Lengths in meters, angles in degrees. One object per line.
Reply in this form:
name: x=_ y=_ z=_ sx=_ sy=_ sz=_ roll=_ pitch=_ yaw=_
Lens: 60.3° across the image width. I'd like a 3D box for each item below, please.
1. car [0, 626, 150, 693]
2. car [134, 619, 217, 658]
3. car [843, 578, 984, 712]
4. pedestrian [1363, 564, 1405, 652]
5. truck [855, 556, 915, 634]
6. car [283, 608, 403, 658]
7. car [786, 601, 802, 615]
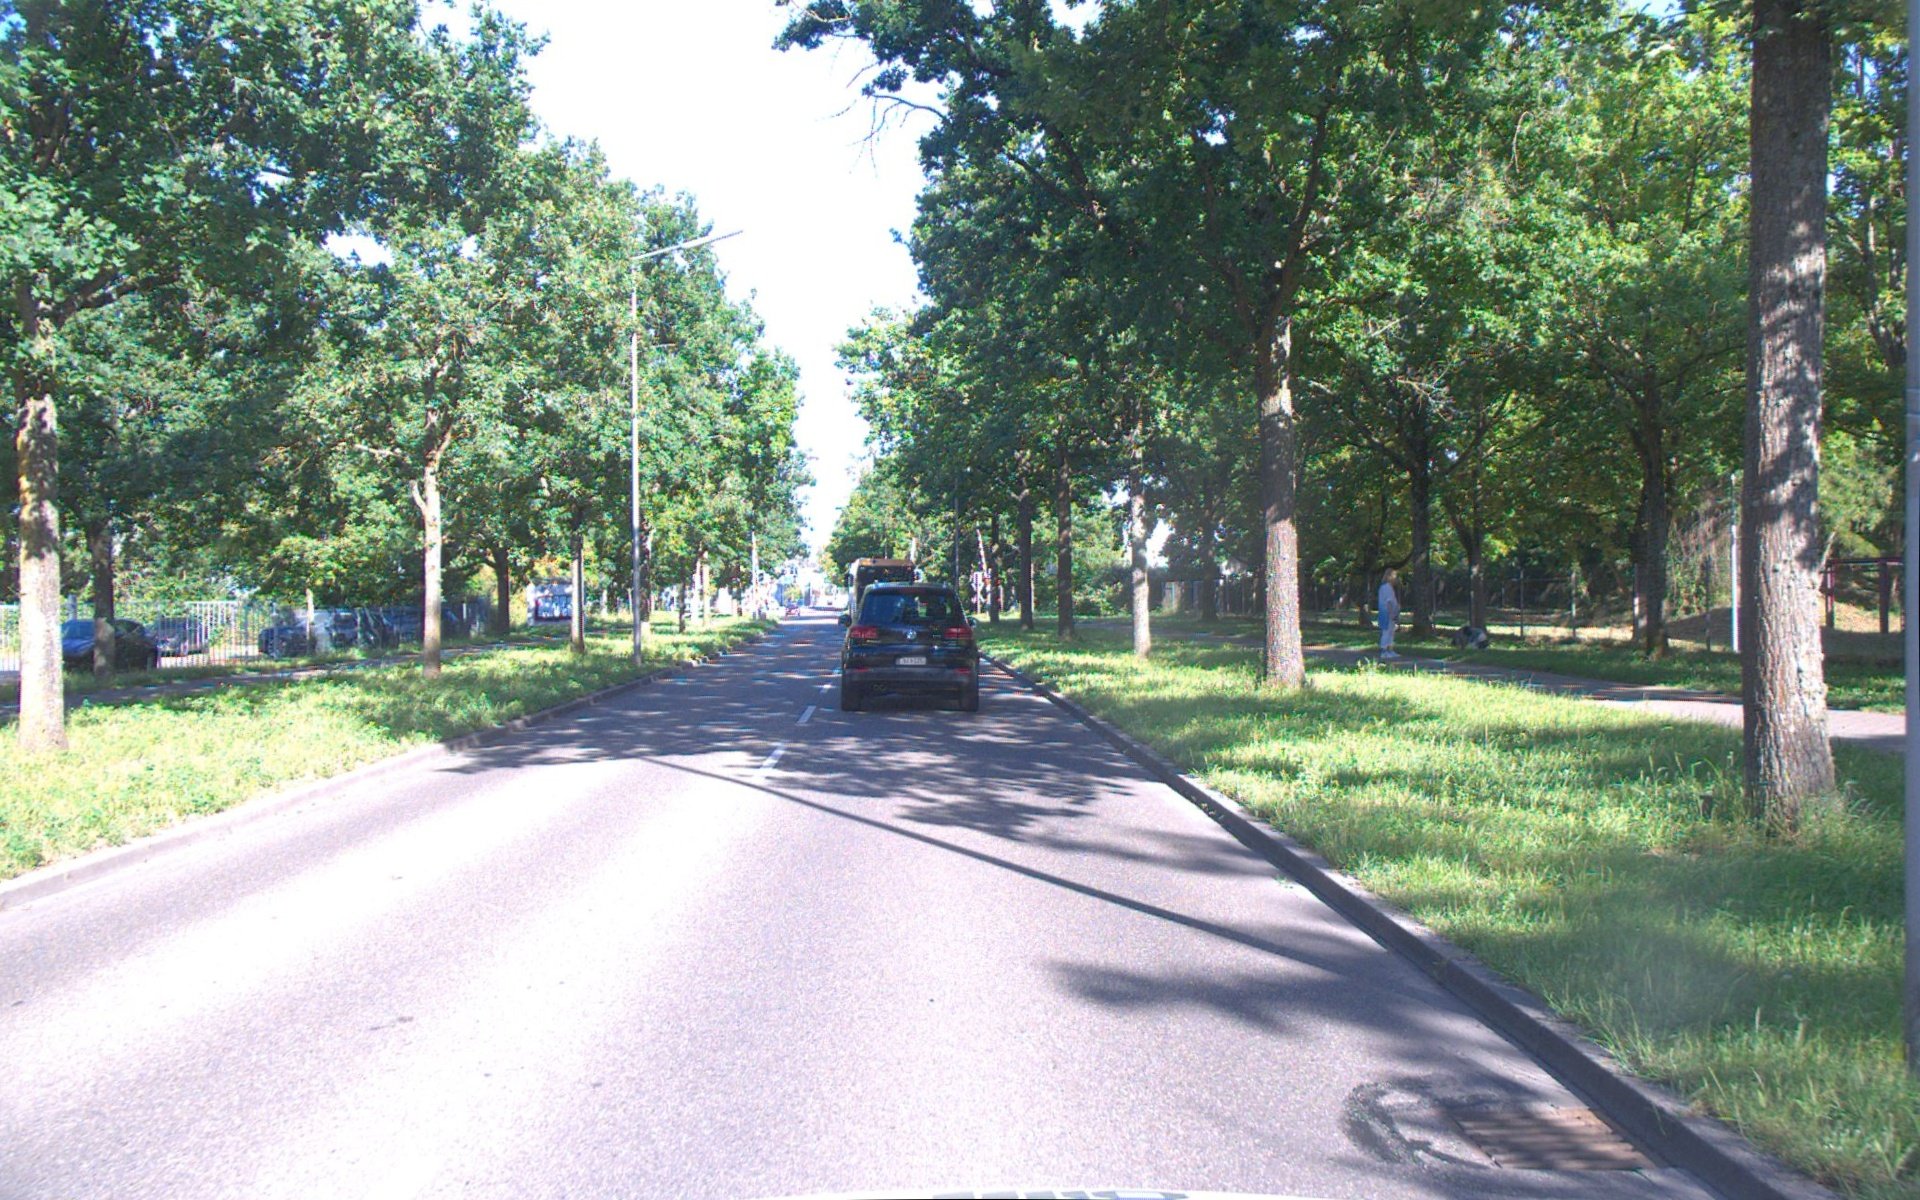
car: x=-23.940 y=1.554 z=44.578 sx=1.954 sy=1.625 sz=5.011 roll=1 pitch=0 yaw=-3
car: x=-34.625 y=1.687 z=73.167 sx=1.956 sy=1.594 sz=4.875 roll=1 pitch=0 yaw=-9
car: x=-0.713 y=0.566 z=22.786 sx=1.747 sy=1.662 sz=3.997 roll=1 pitch=0 yaw=-4
pedestrian: x=8.217 y=0.151 z=32.047 sx=0.701 sy=1.659 sz=0.610 roll=-3 pitch=1 yaw=15
truck: x=-3.429 y=-0.216 z=73.851 sx=2.462 sy=3.300 sz=8.145 roll=-1 pitch=0 yaw=-4
car: x=-23.472 y=1.240 z=63.038 sx=3.914 sy=1.833 sz=1.995 roll=1 pitch=0 yaw=-10
car: x=-18.649 y=0.844 z=186.150 sx=1.534 sy=1.531 sz=3.998 roll=1 pitch=0 yaw=-2
